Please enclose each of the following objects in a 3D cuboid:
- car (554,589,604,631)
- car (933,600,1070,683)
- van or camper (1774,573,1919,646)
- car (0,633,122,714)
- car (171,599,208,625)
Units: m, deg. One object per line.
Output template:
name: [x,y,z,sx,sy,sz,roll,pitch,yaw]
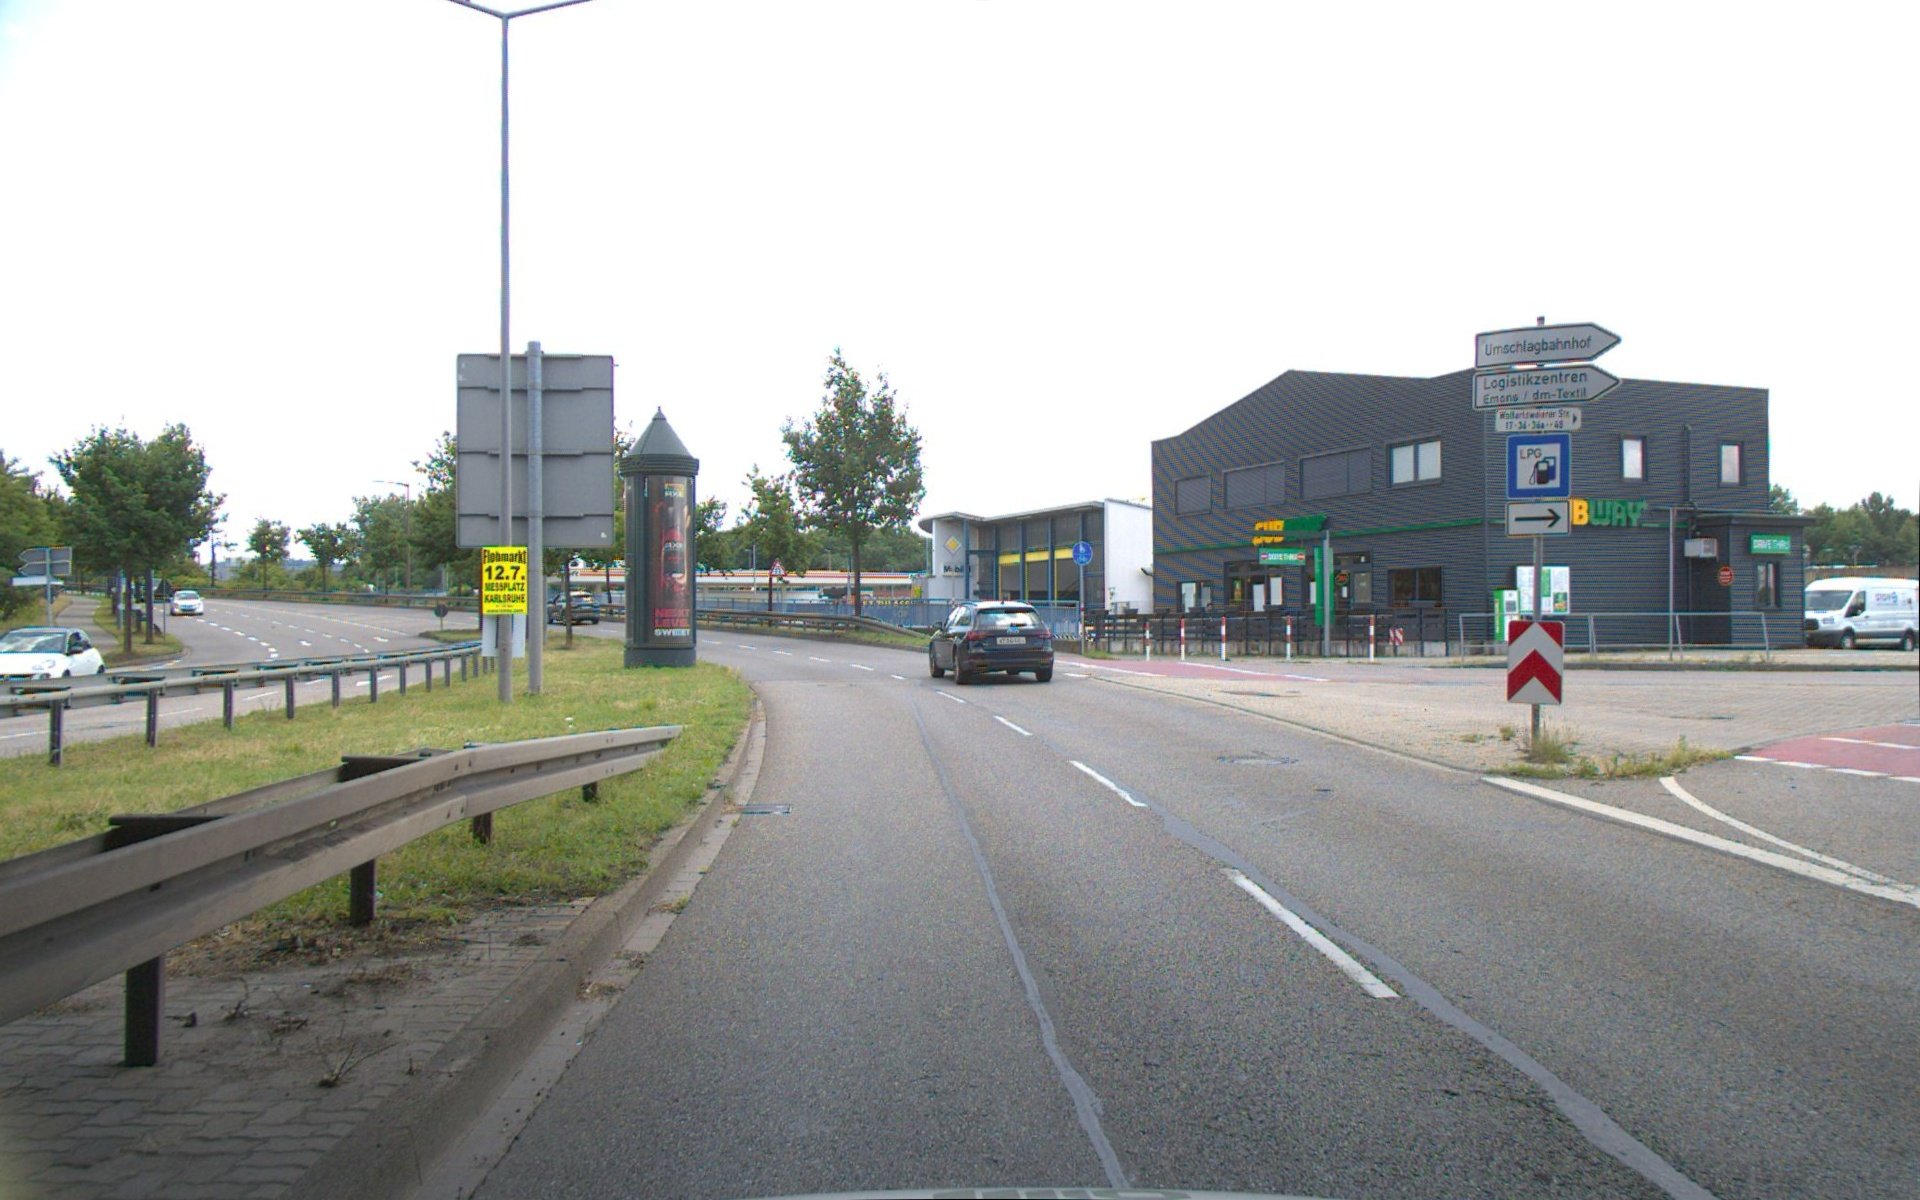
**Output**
car: [-19.915,0.549,86.253,1.964,2.073,4.684,0,-2,-20]
car: [0.686,0.746,31.064,1.955,1.415,4.569,1,-1,-6]
van or camper: [29.375,0.364,54.244,6.173,2.211,2.101,2,-2,-34]
car: [-19.302,1.501,34.855,1.719,1.537,3.992,0,0,-8]
car: [-48.988,0.773,105.230,1.968,1.559,4.298,-2,0,-24]
